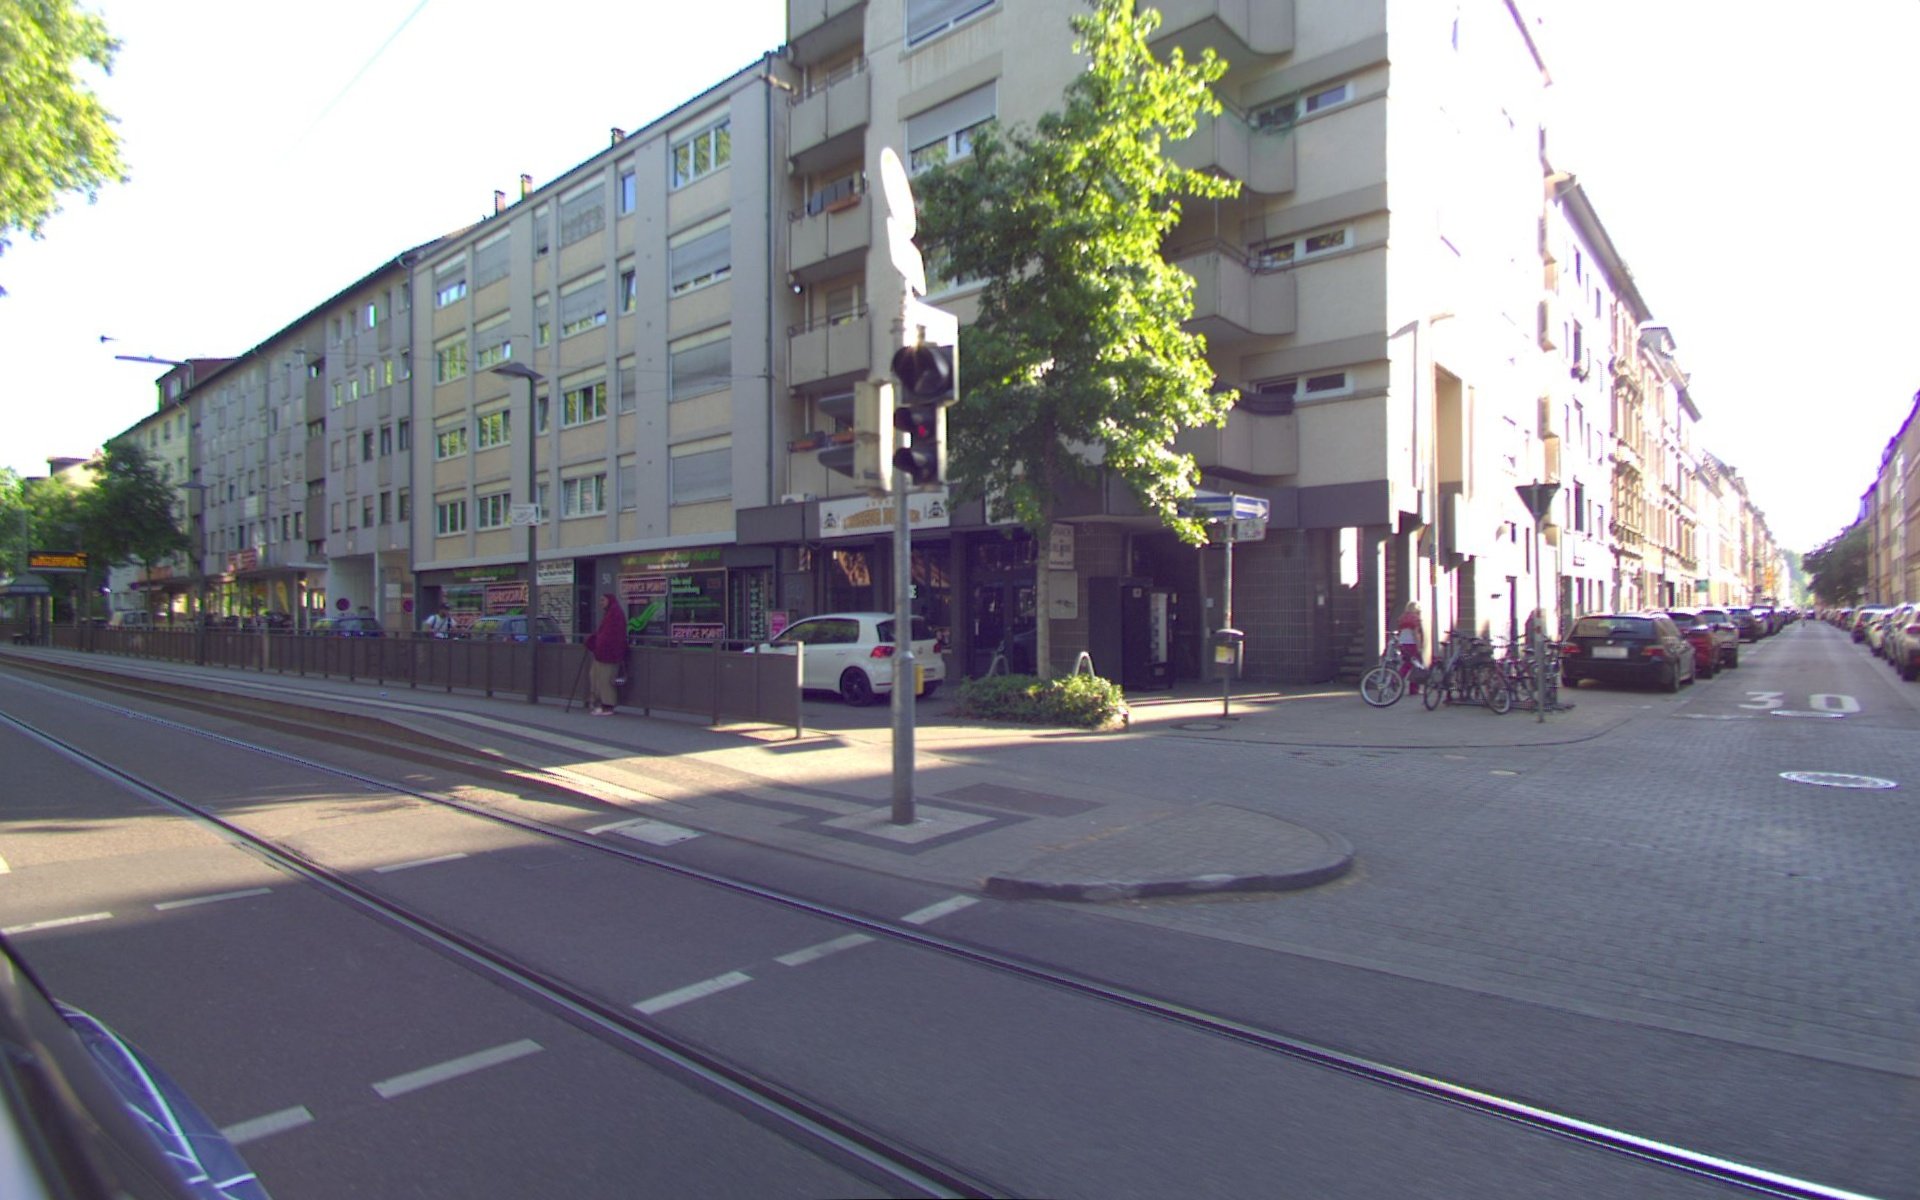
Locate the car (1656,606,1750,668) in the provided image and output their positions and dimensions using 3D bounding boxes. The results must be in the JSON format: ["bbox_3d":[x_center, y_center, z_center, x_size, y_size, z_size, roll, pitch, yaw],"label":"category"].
[{"bbox_3d":[19.834,0.947,27.083,1.891,1.515,3.736,-1,-1,36],"label":"car"}]

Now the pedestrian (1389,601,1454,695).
[{"bbox_3d":[7.921,0.807,17.383,0.716,1.568,0.726,0,-1,-6],"label":"pedestrian"}]

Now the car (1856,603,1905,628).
[{"bbox_3d":[51.656,0.867,56.857,1.889,1.394,3.946,-1,-1,41],"label":"car"}]

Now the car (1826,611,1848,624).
[{"bbox_3d":[104.722,2.067,120.887,1.889,1.593,3.946,-1,-1,41],"label":"car"}]

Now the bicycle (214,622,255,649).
[{"bbox_3d":[-32.313,1.572,45.071,2.019,1.165,0.556,-1,-1,26],"label":"bicycle"}]

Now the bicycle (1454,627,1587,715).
[{"bbox_3d":[7.811,0.965,14.104,1.759,1.165,0.574,0,-1,-18],"label":"bicycle"}]

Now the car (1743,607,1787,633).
[{"bbox_3d":[47.906,1.175,60.204,1.894,1.515,3.730,-1,-1,41],"label":"car"}]

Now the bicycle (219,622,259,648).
[{"bbox_3d":[-32.435,1.571,45.498,2.019,1.165,0.556,-1,-1,26],"label":"bicycle"}]

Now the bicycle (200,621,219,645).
[{"bbox_3d":[-37.160,1.631,50.097,1.688,1.165,0.506,-1,-2,44],"label":"bicycle"}]

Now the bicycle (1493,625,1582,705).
[{"bbox_3d":[8.937,0.970,15.645,1.761,1.165,0.573,1,-1,-39],"label":"bicycle"}]

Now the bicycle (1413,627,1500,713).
[{"bbox_3d":[7.279,0.983,14.800,0.572,1.165,1.837,-1,-2,45],"label":"bicycle"}]

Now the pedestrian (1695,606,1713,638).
[{"bbox_3d":[37.205,1.097,50.606,0.664,1.568,0.716,-1,-1,37],"label":"pedestrian"}]

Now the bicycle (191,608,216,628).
[{"bbox_3d":[-43.443,1.037,58.130,2.033,1.165,0.565,-1,-2,35],"label":"bicycle"}]

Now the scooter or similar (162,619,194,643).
[{"bbox_3d":[-38.453,1.522,49.756,1.259,1.183,0.445,0,-1,4],"label":"scooter or similar"}]

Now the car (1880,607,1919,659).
[{"bbox_3d":[26.862,0.883,28.029,1.889,1.394,3.946,-1,-1,41],"label":"car"}]

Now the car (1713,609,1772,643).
[{"bbox_3d":[35.774,1.167,46.240,1.894,1.515,3.730,-1,-1,41],"label":"car"}]

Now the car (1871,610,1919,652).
[{"bbox_3d":[33.162,1.048,35.330,1.889,1.394,3.946,-1,-1,41],"label":"car"}]

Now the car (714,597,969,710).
[{"bbox_3d":[-2.122,0.832,17.391,4.354,1.663,1.859,-1,1,40],"label":"car"}]

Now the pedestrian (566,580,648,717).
[{"bbox_3d":[-4.308,0.575,12.355,0.772,1.597,0.647,-1,-1,41],"label":"pedestrian"}]

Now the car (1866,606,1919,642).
[{"bbox_3d":[37.349,0.929,40.220,1.889,1.394,3.946,-1,-1,41],"label":"car"}]

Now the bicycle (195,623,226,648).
[{"bbox_3d":[-35.603,1.675,48.070,2.033,1.165,0.565,-1,-2,35],"label":"bicycle"}]

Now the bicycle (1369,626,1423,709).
[{"bbox_3d":[6.652,0.990,15.500,0.567,1.165,2.025,-1,-1,18],"label":"bicycle"}]

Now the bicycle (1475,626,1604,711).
[{"bbox_3d":[8.378,0.964,14.624,1.759,1.165,0.574,0,-1,-18],"label":"bicycle"}]

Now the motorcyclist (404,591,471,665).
[{"bbox_3d":[-10.482,0.557,20.314,1.015,1.451,0.864,-1,-2,40],"label":"motorcyclist"}]

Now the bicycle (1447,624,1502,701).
[{"bbox_3d":[8.318,0.968,16.338,0.570,1.165,1.769,-1,-1,34],"label":"bicycle"}]

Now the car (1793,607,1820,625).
[{"bbox_3d":[78.922,1.480,94.318,1.889,1.593,3.946,-1,-1,41],"label":"car"}]

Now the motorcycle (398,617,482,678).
[{"bbox_3d":[-10.433,0.924,20.280,1.913,1.173,0.840,-1,-2,41],"label":"motorcycle"}]

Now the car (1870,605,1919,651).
[{"bbox_3d":[29.874,0.848,31.725,1.889,1.394,3.946,-1,-1,41],"label":"car"}]

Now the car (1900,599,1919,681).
[{"bbox_3d":[20.630,0.777,20.668,1.889,1.593,3.946,-1,-1,41],"label":"car"}]

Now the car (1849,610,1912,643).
[{"bbox_3d":[40.489,1.151,44.591,1.889,1.394,3.946,-1,-1,41],"label":"car"}]

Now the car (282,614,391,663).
[{"bbox_3d":[-20.119,1.219,32.595,4.280,1.475,1.776,-1,-2,41],"label":"car"}]

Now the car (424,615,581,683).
[{"bbox_3d":[-11.506,1.167,25.339,4.386,1.556,1.935,-1,-2,41],"label":"car"}]

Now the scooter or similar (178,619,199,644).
[{"bbox_3d":[-37.371,1.531,48.994,1.272,1.183,0.440,-1,-2,36],"label":"scooter or similar"}]

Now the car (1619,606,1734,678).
[{"bbox_3d":[16.595,0.915,23.368,1.804,1.515,3.730,-1,-1,41],"label":"car"}]

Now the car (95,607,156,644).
[{"bbox_3d":[-45.139,1.379,54.714,4.046,1.949,1.785,-1,-2,40],"label":"car"}]

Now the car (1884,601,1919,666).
[{"bbox_3d":[23.730,0.785,24.453,1.889,1.489,3.946,-1,-1,41],"label":"car"}]

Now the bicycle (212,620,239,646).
[{"bbox_3d":[-34.060,1.531,46.912,1.748,1.165,0.488,-1,-2,35],"label":"bicycle"}]

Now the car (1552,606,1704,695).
[{"bbox_3d":[12.952,0.886,19.501,1.894,1.515,4.236,-1,-1,41],"label":"car"}]

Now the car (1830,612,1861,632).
[{"bbox_3d":[74.905,1.840,85.604,1.889,1.593,3.946,-1,-1,41],"label":"car"}]

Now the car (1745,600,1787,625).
[{"bbox_3d":[50.435,0.782,63.317,1.894,1.515,3.730,-1,-1,41],"label":"car"}]
